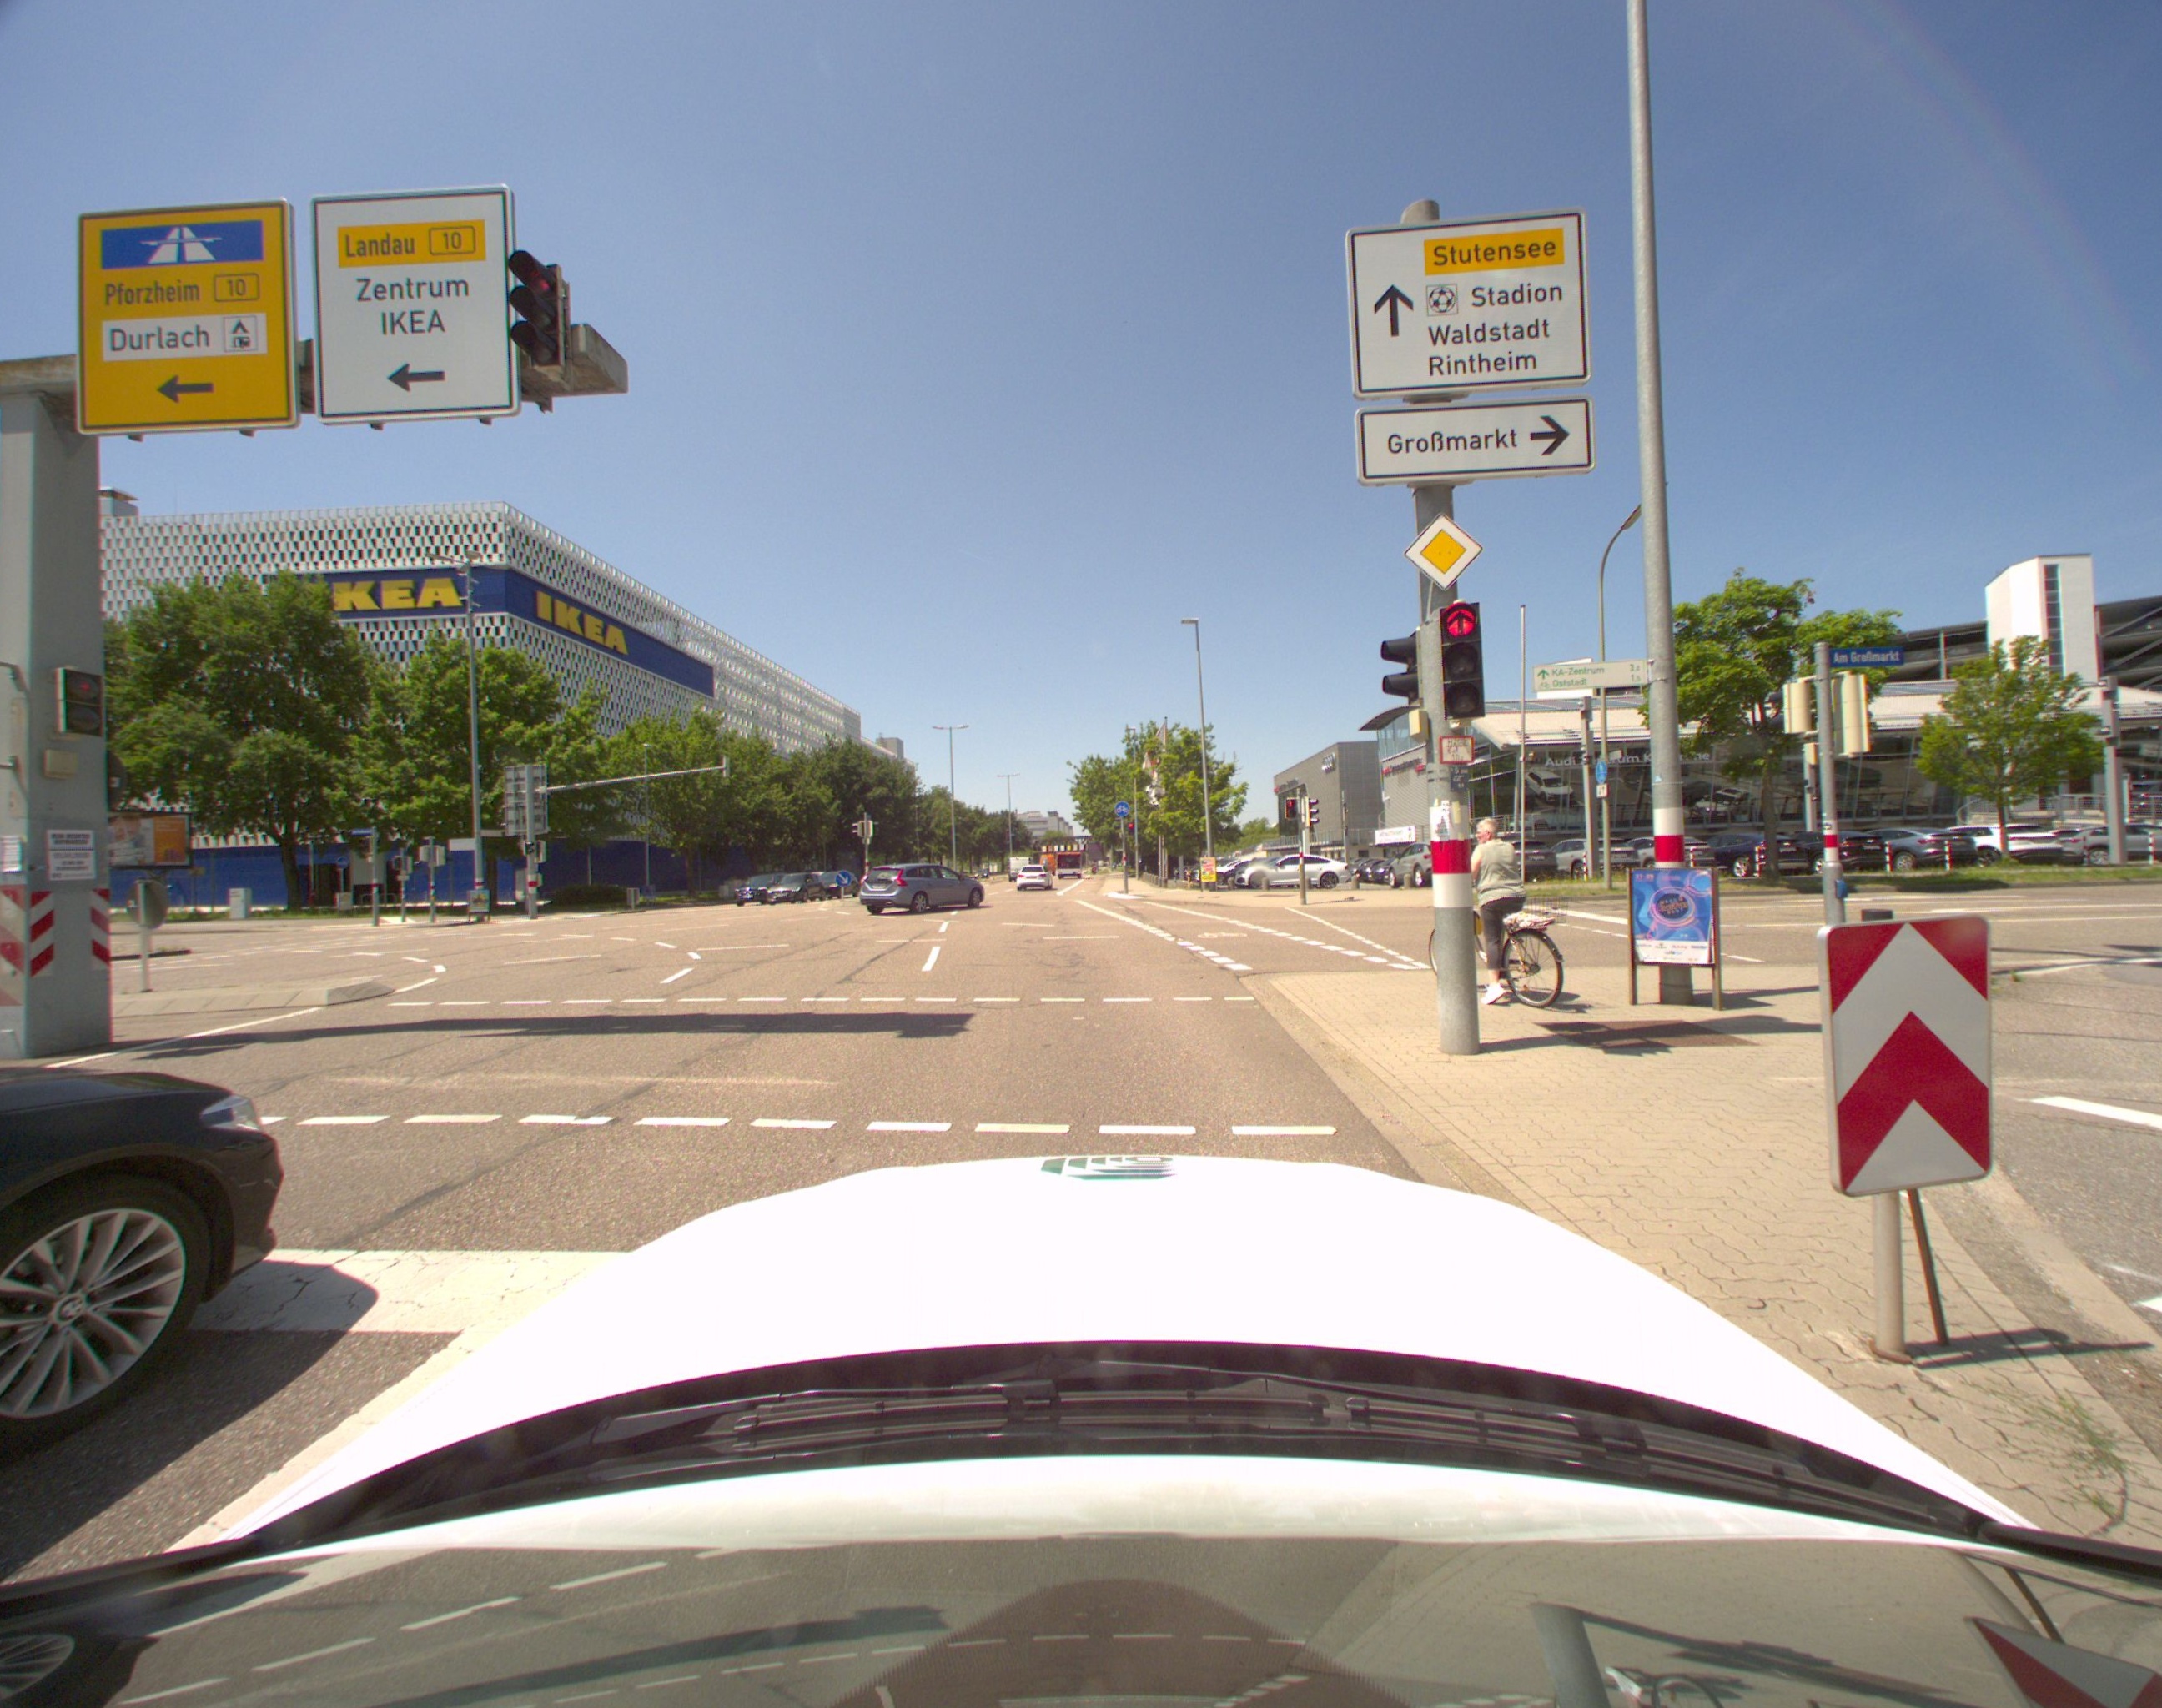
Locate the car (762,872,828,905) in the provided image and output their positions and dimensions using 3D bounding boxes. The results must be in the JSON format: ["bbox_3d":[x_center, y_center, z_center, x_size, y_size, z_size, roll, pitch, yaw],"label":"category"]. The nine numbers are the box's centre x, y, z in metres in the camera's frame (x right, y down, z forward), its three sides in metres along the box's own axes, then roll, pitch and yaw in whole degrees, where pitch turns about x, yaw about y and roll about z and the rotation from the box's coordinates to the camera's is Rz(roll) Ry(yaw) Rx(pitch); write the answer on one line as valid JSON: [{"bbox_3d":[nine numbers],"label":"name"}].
[{"bbox_3d":[-13.722,1.641,39.255,1.637,1.389,3.717,-4,-1,2],"label":"car"}]

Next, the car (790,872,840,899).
[{"bbox_3d":[-16.672,1.939,51.185,1.720,1.544,3.916,-3,-1,2],"label":"car"}]

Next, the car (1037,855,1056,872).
[{"bbox_3d":[-4.378,1.198,104.277,1.986,2.014,4.814,0,-1,2],"label":"car"}]

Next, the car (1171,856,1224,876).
[{"bbox_3d":[8.603,0.872,60.306,3.668,1.453,1.834,0,-1,1],"label":"car"}]

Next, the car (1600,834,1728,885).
[{"bbox_3d":[20.175,0.145,28.386,1.632,1.616,3.815,-1,1,-2],"label":"car"}]

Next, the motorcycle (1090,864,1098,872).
[{"bbox_3d":[1.668,1.830,106.193,0.716,1.105,1.825,-1,-1,-8],"label":"motorcycle"}]

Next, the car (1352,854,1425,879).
[{"bbox_3d":[19.250,0.779,51.066,3.967,1.573,1.634,0,-1,1],"label":"car"}]

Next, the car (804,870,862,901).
[{"bbox_3d":[-13.779,1.727,45.520,1.720,1.505,4.245,-4,-1,2],"label":"car"}]

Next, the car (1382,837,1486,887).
[{"bbox_3d":[12.378,0.335,28.934,1.860,1.558,4.506,-3,-2,3],"label":"car"}]

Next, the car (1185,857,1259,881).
[{"bbox_3d":[8.457,0.892,49.072,4.210,1.390,1.869,0,-1,1],"label":"car"}]

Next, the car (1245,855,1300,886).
[{"bbox_3d":[9.237,0.794,39.611,1.855,1.420,4.667,0,-1,4],"label":"car"}]

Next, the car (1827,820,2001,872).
[{"bbox_3d":[28.558,-0.224,28.114,1.840,1.654,3.994,0,-1,-2],"label":"car"}]

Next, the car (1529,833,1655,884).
[{"bbox_3d":[17.893,0.166,28.753,1.840,1.654,3.994,0,-1,-2],"label":"car"}]

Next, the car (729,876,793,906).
[{"bbox_3d":[-16.800,1.904,42.944,1.654,1.424,4.039,-3,-1,2],"label":"car"}]

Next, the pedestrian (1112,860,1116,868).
[{"bbox_3d":[5.284,1.636,131.308,0.621,1.374,0.564,-2,-1,0],"label":"pedestrian"}]

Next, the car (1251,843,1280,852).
[{"bbox_3d":[27.334,-0.911,120.571,3.930,1.211,1.715,-1,-1,-3],"label":"car"}]

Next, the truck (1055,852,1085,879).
[{"bbox_3d":[-0.953,1.023,76.685,2.449,2.410,7.136,0,0,2],"label":"truck"}]

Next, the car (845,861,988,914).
[{"bbox_3d":[-4.906,0.983,24.871,1.882,1.376,4.258,-3,-1,30],"label":"car"}]

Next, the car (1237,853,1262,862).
[{"bbox_3d":[29.140,0.639,141.058,3.978,1.312,1.795,-2,-1,-3],"label":"car"}]

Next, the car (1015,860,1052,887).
[{"bbox_3d":[-2.604,1.069,45.654,1.737,1.396,3.530,-2,-1,2],"label":"car"}]

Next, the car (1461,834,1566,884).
[{"bbox_3d":[15.101,0.182,28.675,1.836,1.654,4.003,0,-1,5],"label":"car"}]

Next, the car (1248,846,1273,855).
[{"bbox_3d":[27.372,-0.527,124.345,3.515,1.239,1.675,0,-1,-3],"label":"car"}]

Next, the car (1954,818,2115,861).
[{"bbox_3d":[39.780,-0.581,34.137,3.947,1.571,1.862,-3,-1,31],"label":"car"}]

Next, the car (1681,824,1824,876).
[{"bbox_3d":[23.110,-0.106,28.242,1.624,1.654,3.907,-1,-1,-2],"label":"car"}]

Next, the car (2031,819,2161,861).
[{"bbox_3d":[39.669,-0.556,30.745,4.531,1.471,1.925,-3,-1,26],"label":"car"}]

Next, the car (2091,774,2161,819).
[{"bbox_3d":[45.713,-2.475,33.953,4.552,1.707,1.916,-2,-1,4],"label":"car"}]

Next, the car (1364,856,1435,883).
[{"bbox_3d":[19.070,0.937,48.824,3.634,1.580,1.643,0,-1,1],"label":"car"}]

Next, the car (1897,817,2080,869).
[{"bbox_3d":[31.168,-0.333,28.173,1.840,1.654,3.994,0,-1,-2],"label":"car"}]

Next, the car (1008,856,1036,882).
[{"bbox_3d":[-4.826,1.242,67.112,1.986,2.014,4.000,-1,-1,1],"label":"car"}]

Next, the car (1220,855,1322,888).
[{"bbox_3d":[8.248,0.749,35.575,4.081,1.390,1.869,0,-1,1],"label":"car"}]

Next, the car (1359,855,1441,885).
[{"bbox_3d":[17.824,0.879,45.588,3.970,1.622,1.657,0,-1,1],"label":"car"}]

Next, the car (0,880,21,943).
[{"bbox_3d":[-36.965,1.941,26.122,3.807,2.014,1.775,-2,-1,5],"label":"car"}]

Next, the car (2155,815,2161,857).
[{"bbox_3d":[39.528,-0.692,26.882,4.558,1.471,1.861,-2,0,26],"label":"car"}]

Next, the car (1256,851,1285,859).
[{"bbox_3d":[27.070,0.111,116.113,3.716,1.130,1.682,0,-1,-3],"label":"car"}]

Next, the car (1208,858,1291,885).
[{"bbox_3d":[8.976,0.932,43.641,4.081,1.364,1.875,0,-1,1],"label":"car"}]

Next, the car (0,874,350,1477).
[{"bbox_3d":[-3.547,0.799,0.624,1.791,1.440,4.557,-2,0,1],"label":"car"}]

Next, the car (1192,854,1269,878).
[{"bbox_3d":[8.471,0.681,46.402,4.084,1.349,1.869,0,-1,1],"label":"car"}]

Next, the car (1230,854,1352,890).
[{"bbox_3d":[8.462,0.715,33.196,4.572,1.390,1.871,0,-1,3],"label":"car"}]

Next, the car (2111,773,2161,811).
[{"bbox_3d":[53.566,-3.111,39.447,1.905,1.722,4.142,-2,0,-5],"label":"car"}]

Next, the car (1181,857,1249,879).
[{"bbox_3d":[8.545,0.879,52.121,4.085,1.405,1.869,0,-1,1],"label":"car"}]

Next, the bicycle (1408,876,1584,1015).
[{"bbox_3d":[3.985,0.819,8.016,0.627,1.133,1.891,-1,0,-5],"label":"bicycle"}]

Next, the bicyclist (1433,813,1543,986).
[{"bbox_3d":[3.980,0.428,8.017,0.627,1.606,0.824,0,-1,-5],"label":"bicyclist"}]

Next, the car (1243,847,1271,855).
[{"bbox_3d":[27.819,-0.480,128.964,3.977,1.312,1.795,0,-1,-3],"label":"car"}]

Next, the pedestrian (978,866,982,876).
[{"bbox_3d":[-18.998,3.167,153.186,0.741,1.884,0.578,-2,-1,2],"label":"pedestrian"}]

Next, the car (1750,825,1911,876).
[{"bbox_3d":[25.856,-0.082,28.293,1.840,1.654,3.994,0,-1,-2],"label":"car"}]

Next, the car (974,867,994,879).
[{"bbox_3d":[-13.156,2.604,110.252,1.718,1.446,4.725,-4,-1,4],"label":"car"}]

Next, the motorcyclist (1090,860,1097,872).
[{"bbox_3d":[1.660,1.559,106.243,0.719,1.529,0.868,0,-1,-8],"label":"motorcyclist"}]
